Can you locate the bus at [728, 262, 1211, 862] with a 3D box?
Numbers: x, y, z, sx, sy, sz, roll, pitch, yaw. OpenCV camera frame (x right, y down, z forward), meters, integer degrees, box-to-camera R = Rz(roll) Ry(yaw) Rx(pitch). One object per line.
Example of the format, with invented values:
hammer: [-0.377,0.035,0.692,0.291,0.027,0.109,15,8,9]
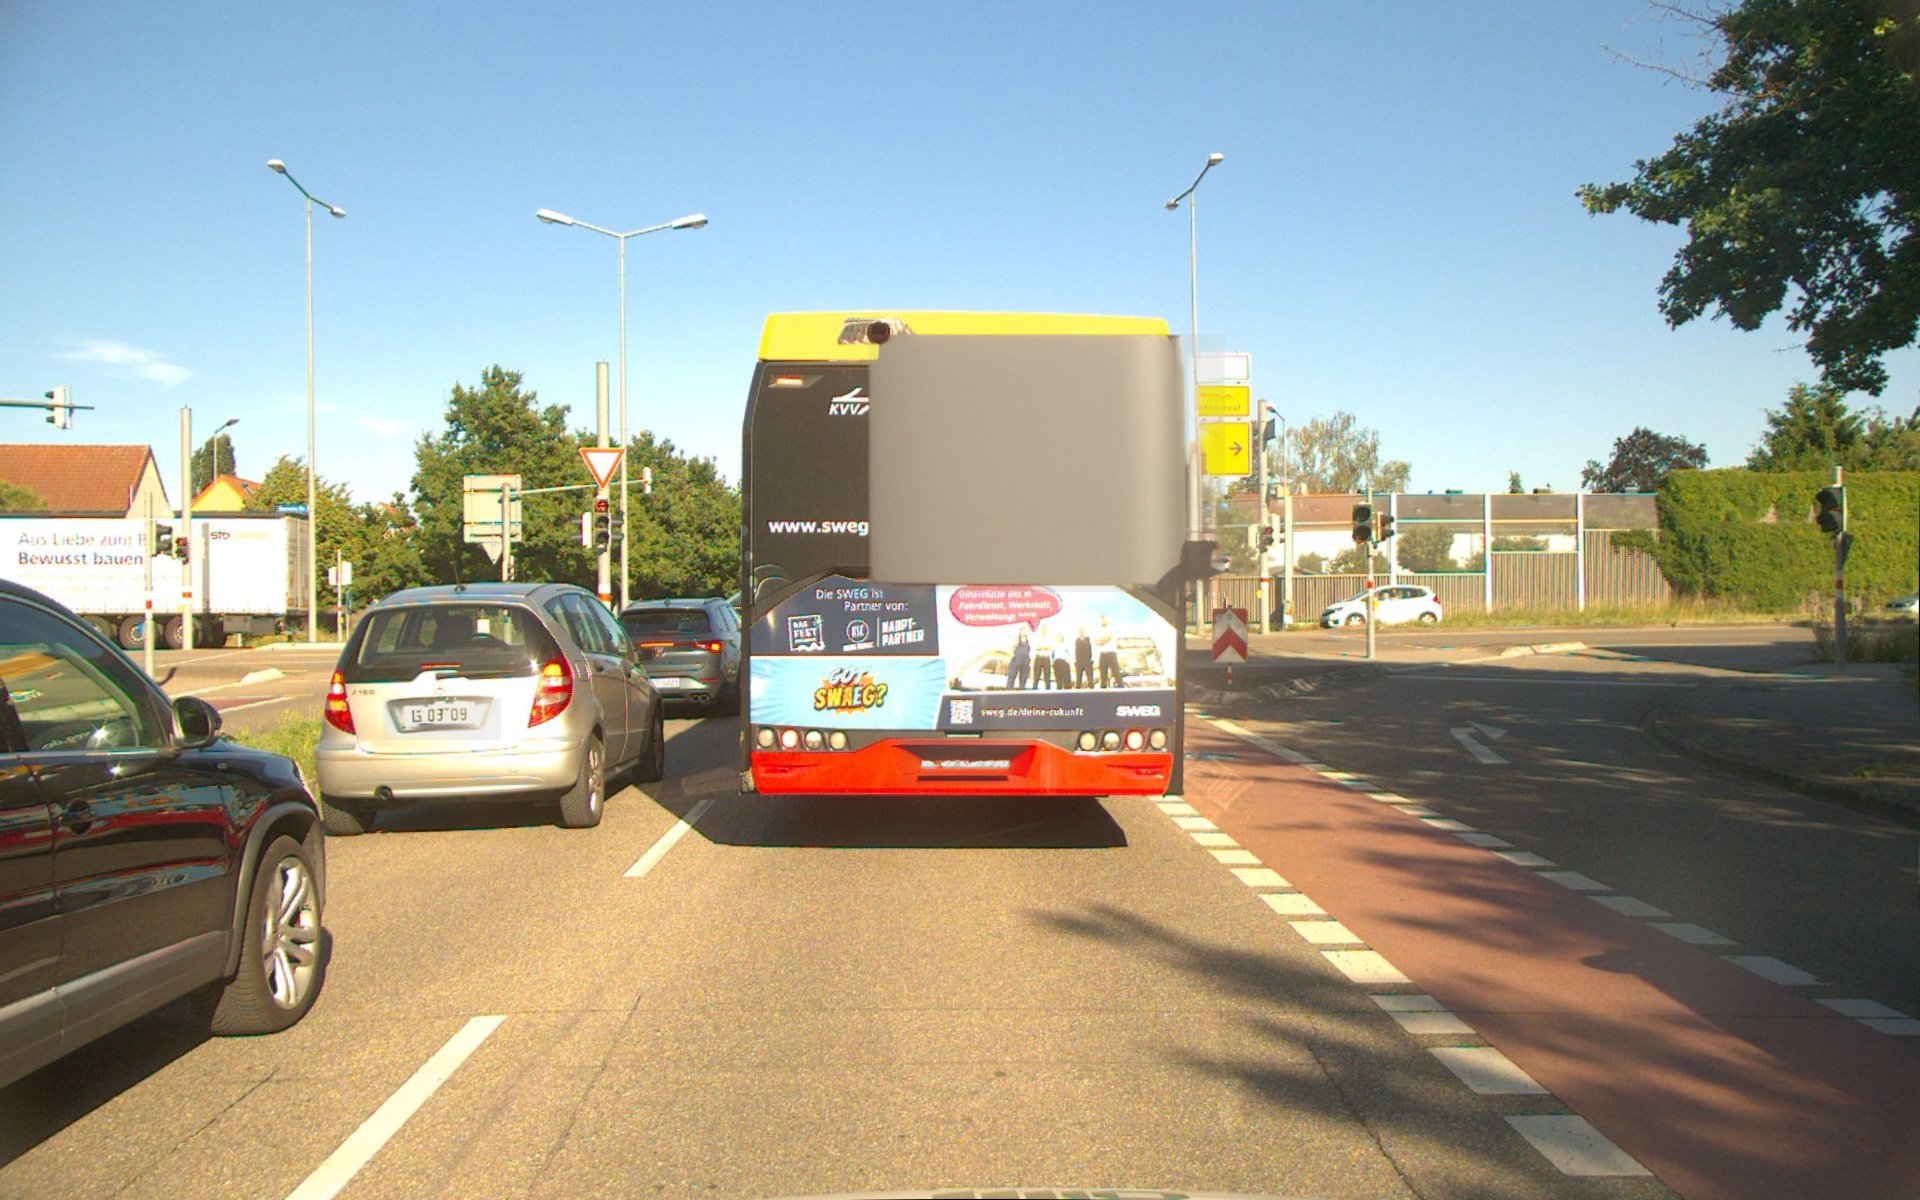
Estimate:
bus: [0.018,-0.256,14.890,2.589,3.222,11.860,0,0,0]

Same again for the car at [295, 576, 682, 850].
car: [-3.220,0.679,12.127,1.725,1.617,3.999,-2,0,-1]

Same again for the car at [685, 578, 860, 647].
car: [-4.711,0.300,41.782,4.028,1.552,1.749,-2,0,-32]

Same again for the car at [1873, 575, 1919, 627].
car: [35.992,0.075,60.763,3.908,1.847,1.921,1,0,-4]

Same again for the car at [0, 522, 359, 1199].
car: [-3.147,0.684,4.300,1.736,1.682,3.999,-2,0,-1]

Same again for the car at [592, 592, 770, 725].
car: [-3.453,0.672,21.055,1.658,1.484,3.750,-2,0,-1]

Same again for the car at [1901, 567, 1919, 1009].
car: [4.290,0.715,4.184,1.681,1.635,4.069,0,0,3]

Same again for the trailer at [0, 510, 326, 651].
trailer: [-27.062,-0.580,49.896,14.376,4.083,3.436,0,0,-7]

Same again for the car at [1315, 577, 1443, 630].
car: [13.837,0.117,54.663,3.735,1.641,1.704,1,0,-7]
